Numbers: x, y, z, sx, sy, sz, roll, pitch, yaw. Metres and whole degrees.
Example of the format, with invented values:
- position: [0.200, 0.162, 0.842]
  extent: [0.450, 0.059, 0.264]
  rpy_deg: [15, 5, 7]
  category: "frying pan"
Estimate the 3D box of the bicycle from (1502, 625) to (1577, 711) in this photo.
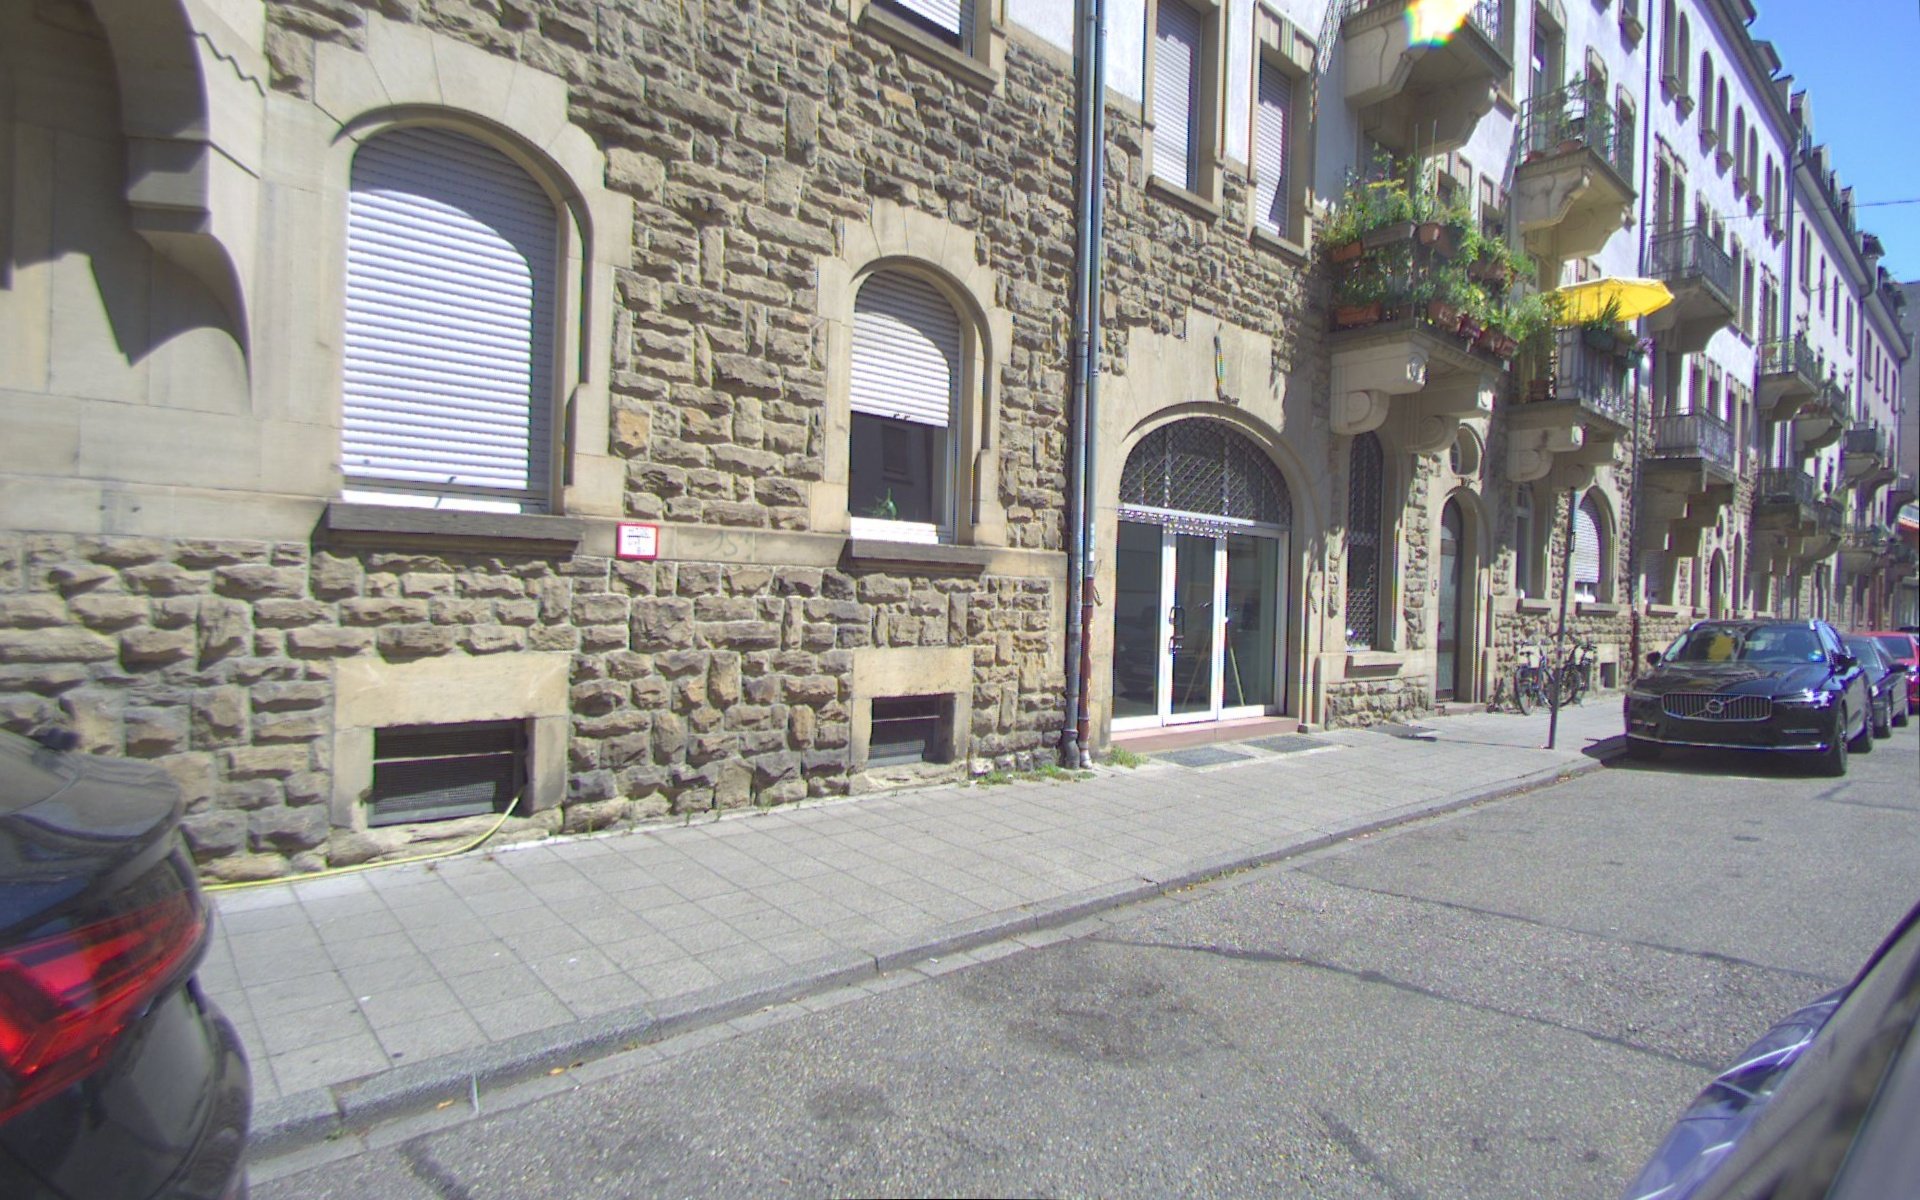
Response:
- position: [8.782, 0.998, 15.304]
  extent: [1.743, 1.223, 0.385]
  rpy_deg: [1, 1, -40]
  category: "bicycle"

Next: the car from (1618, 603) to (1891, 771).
- position: [9.373, 0.853, 11.789]
  extent: [4.527, 1.587, 1.835]
  rpy_deg: [1, -1, -43]
  category: "car"

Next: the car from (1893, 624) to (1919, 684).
- position: [25.734, 1.373, 26.182]
  extent: [4.514, 1.471, 1.720]
  rpy_deg: [1, -1, -39]
  category: "car"

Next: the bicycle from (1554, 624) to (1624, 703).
- position: [10.488, 1.034, 16.844]
  extent: [1.743, 1.223, 0.442]
  rpy_deg: [1, 1, -40]
  category: "bicycle"

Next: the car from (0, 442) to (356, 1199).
- position: [-2.895, 0.628, 0.405]
  extent: [4.276, 1.617, 1.737]
  rpy_deg: [1, -1, -44]
  category: "car"

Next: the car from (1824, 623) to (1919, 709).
- position: [17.961, 1.199, 19.442]
  extent: [3.776, 1.471, 1.573]
  rpy_deg: [1, -1, -42]
  category: "car"

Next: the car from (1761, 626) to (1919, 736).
- position: [13.409, 1.114, 15.305]
  extent: [3.906, 1.416, 1.513]
  rpy_deg: [1, -1, -44]
  category: "car"

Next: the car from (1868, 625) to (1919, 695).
- position: [21.863, 1.310, 22.837]
  extent: [3.789, 1.471, 1.592]
  rpy_deg: [1, -1, -41]
  category: "car"
